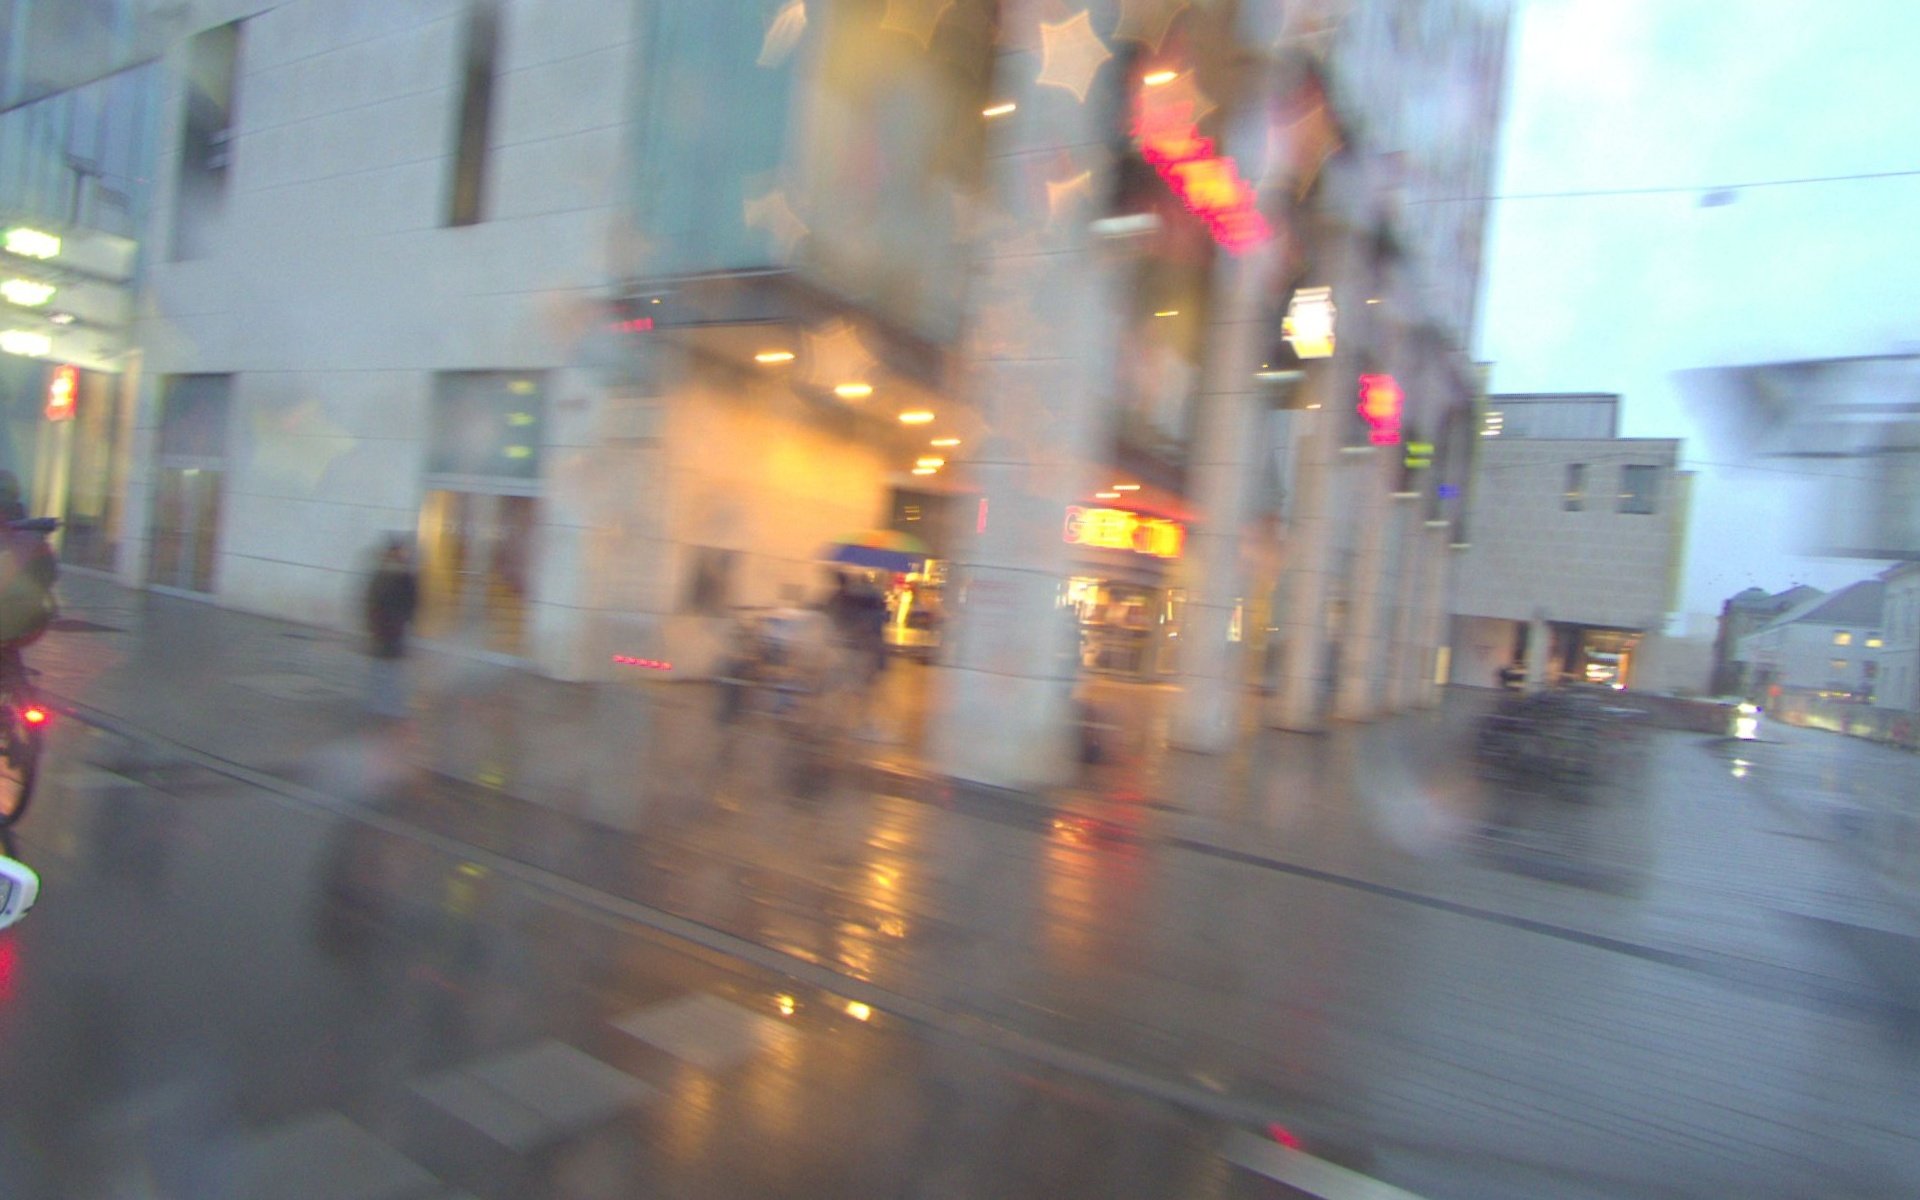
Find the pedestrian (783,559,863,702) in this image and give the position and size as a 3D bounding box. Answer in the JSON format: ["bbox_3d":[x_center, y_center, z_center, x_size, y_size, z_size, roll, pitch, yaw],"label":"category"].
[{"bbox_3d":[-1.842,0.416,13.552,0.613,1.827,0.615,8,0,30],"label":"pedestrian"}]

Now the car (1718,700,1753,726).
[{"bbox_3d":[63.321,9.218,82.178,1.874,1.707,3.923,7,1,35],"label":"car"}]

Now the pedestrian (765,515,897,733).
[{"bbox_3d":[-1.384,0.273,10.865,0.701,2.219,0.957,7,1,41],"label":"pedestrian"}]

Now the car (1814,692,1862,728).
[{"bbox_3d":[70.651,8.814,80.993,1.936,2.530,3.994,7,-1,31],"label":"car"}]

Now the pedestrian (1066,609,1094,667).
[{"bbox_3d":[3.520,1.113,29.439,0.612,1.588,0.617,7,0,9],"label":"pedestrian"}]

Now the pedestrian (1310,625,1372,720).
[{"bbox_3d":[8.267,1.567,21.861,0.620,1.931,0.836,7,0,-28],"label":"pedestrian"}]

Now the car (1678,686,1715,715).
[{"bbox_3d":[52.907,7.202,72.327,1.874,1.707,3.923,7,1,35],"label":"car"}]

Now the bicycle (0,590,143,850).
[{"bbox_3d":[-5.079,0.499,4.989,2.205,1.011,0.943,6,-1,34],"label":"bicycle"}]

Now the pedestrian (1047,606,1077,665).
[{"bbox_3d":[2.926,1.019,28.800,0.612,1.591,0.617,7,0,9],"label":"pedestrian"}]

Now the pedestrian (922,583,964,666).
[{"bbox_3d":[-0.366,0.535,21.908,0.612,1.694,0.617,7,0,9],"label":"pedestrian"}]

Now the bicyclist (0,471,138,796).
[{"bbox_3d":[-4.807,0.111,4.842,1.049,1.481,0.943,7,0,34],"label":"bicyclist"}]

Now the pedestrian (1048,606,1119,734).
[{"bbox_3d":[1.671,0.949,13.582,0.492,1.627,0.778,8,0,29],"label":"pedestrian"}]

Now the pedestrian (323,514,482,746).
[{"bbox_3d":[-4.469,0.229,8.096,0.710,1.717,0.707,7,2,18],"label":"pedestrian"}]

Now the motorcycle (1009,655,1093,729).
[{"bbox_3d":[1.267,1.253,13.671,0.388,0.900,1.635,8,-1,30],"label":"motorcycle"}]

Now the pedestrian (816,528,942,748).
[{"bbox_3d":[-0.842,0.408,10.551,0.572,2.188,0.963,7,1,40],"label":"pedestrian"}]
